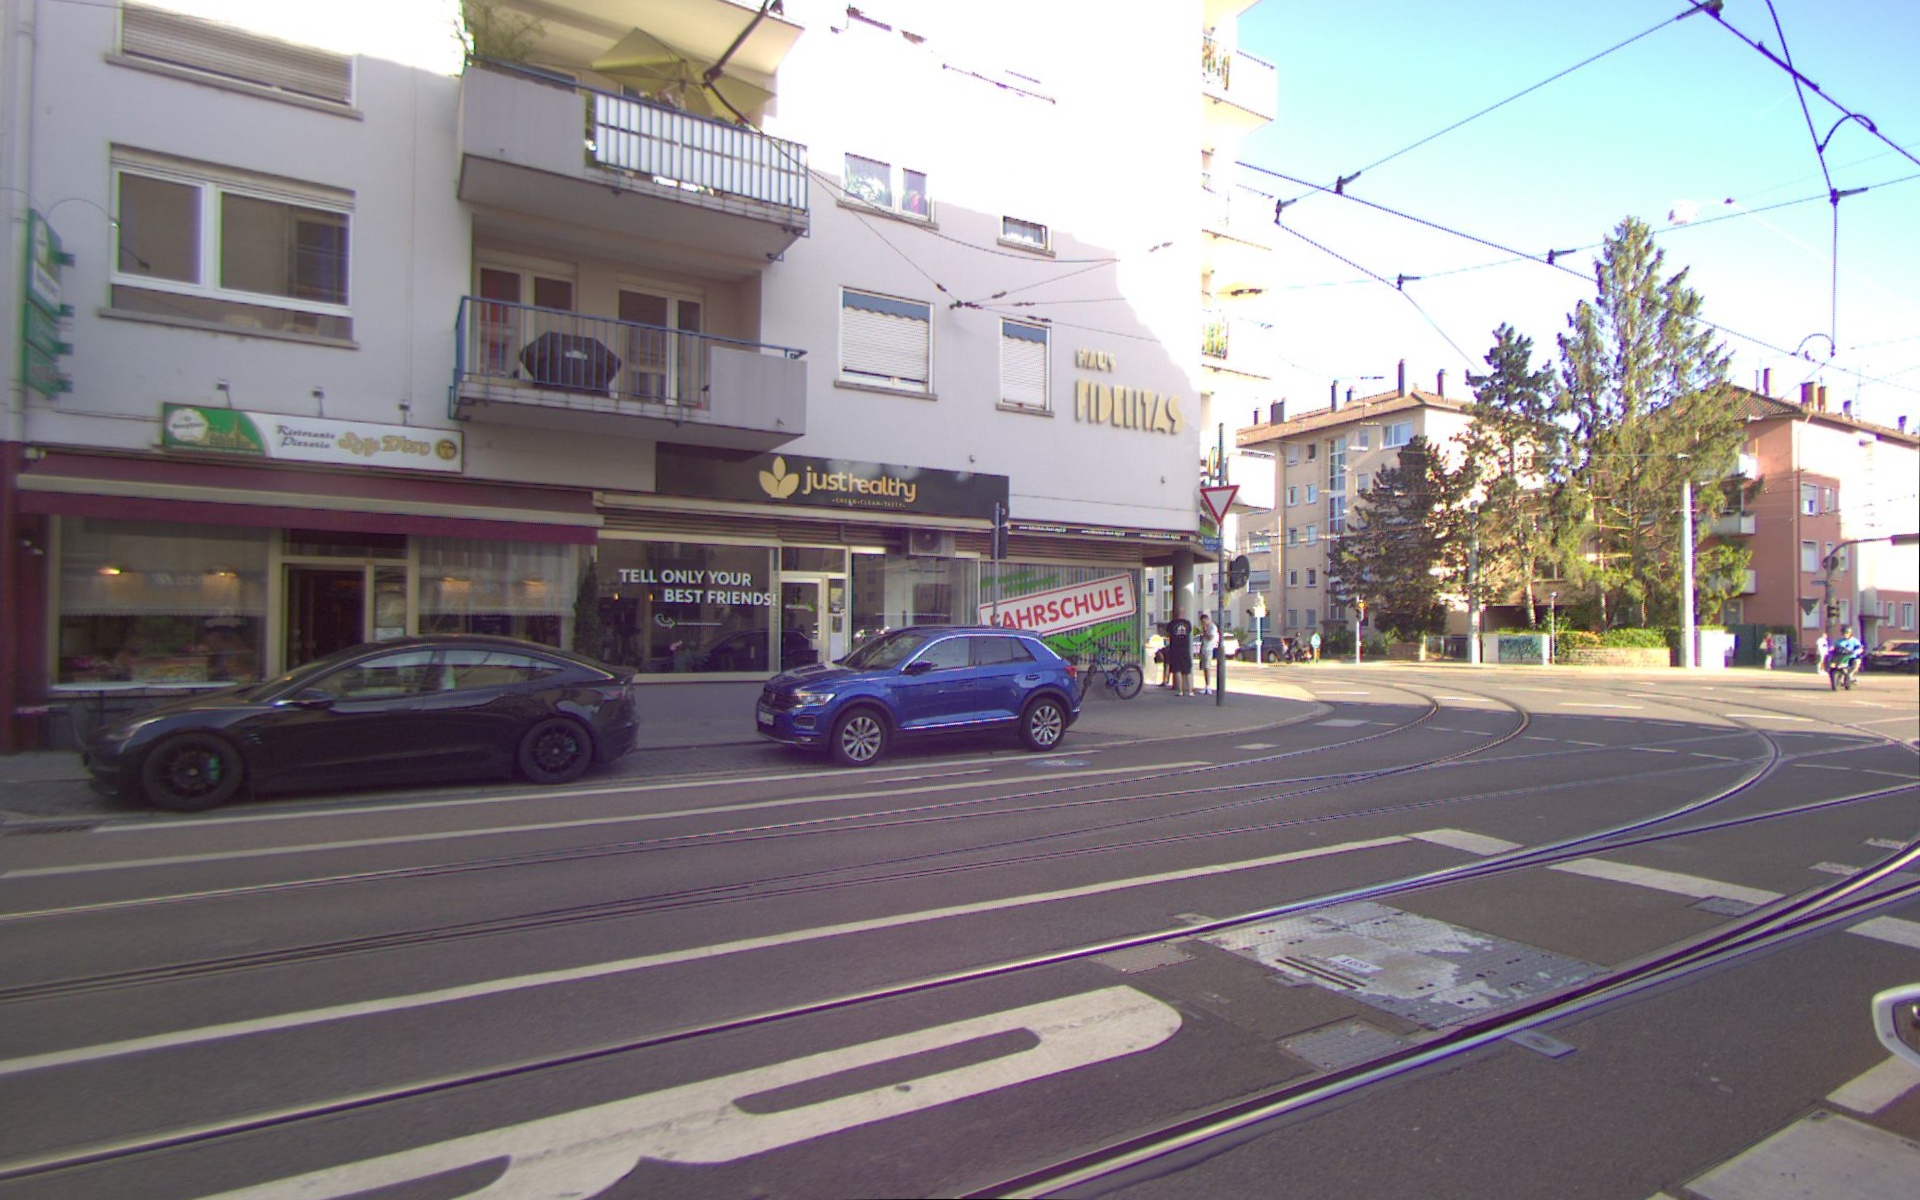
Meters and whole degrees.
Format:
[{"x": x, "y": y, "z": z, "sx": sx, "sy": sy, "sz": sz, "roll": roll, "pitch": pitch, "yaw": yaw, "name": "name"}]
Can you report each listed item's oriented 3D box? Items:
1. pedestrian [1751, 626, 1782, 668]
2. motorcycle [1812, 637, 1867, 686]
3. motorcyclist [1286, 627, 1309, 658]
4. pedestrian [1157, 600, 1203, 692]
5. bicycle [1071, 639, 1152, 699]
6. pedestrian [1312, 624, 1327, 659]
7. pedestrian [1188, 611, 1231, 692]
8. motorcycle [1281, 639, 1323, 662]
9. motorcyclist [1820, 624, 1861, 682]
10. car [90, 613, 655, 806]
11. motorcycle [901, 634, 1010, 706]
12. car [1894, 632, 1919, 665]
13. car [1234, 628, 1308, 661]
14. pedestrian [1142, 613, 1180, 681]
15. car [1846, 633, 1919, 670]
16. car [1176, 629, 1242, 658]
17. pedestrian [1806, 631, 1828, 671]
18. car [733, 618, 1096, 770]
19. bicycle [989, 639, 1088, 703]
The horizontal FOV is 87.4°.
[{"x": 34.554, "y": 1.996, "z": 43.024, "sx": 0.768, "sy": 1.745, "sz": 0.705, "roll": 2, "pitch": 0, "yaw": 16, "name": "pedestrian"}, {"x": 23.358, "y": 1.648, "z": 26.668, "sx": 1.947, "sy": 1.236, "sz": 0.707, "roll": 4, "pitch": -3, "yaw": -36, "name": "motorcycle"}, {"x": 17.309, "y": 2.173, "z": 51.449, "sx": 0.849, "sy": 1.508, "sz": 0.722, "roll": 2, "pitch": 0, "yaw": -35, "name": "motorcyclist"}, {"x": 4.749, "y": 0.982, "z": 21.678, "sx": 0.726, "sy": 1.925, "sz": 0.573, "roll": 3, "pitch": -2, "yaw": -12, "name": "pedestrian"}, {"x": 2.973, "y": 1.335, "z": 19.642, "sx": 1.520, "sy": 1.121, "sz": 0.549, "roll": 2, "pitch": 0, "yaw": -28, "name": "bicycle"}, {"x": 20.155, "y": 2.338, "z": 56.371, "sx": 0.686, "sy": 1.911, "sz": 0.780, "roll": 2, "pitch": 0, "yaw": 23, "name": "pedestrian"}, {"x": 5.743, "y": 1.168, "z": 23.139, "sx": 0.652, "sy": 1.816, "sz": 0.733, "roll": 1, "pitch": -1, "yaw": -23, "name": "pedestrian"}, {"x": 17.435, "y": 2.559, "z": 51.246, "sx": 0.849, "sy": 1.061, "sz": 1.923, "roll": 2, "pitch": 0, "yaw": -35, "name": "motorcycle"}, {"x": 23.429, "y": 1.406, "z": 26.720, "sx": 0.678, "sy": 1.516, "sz": 0.688, "roll": 3, "pitch": -3, "yaw": -36, "name": "motorcyclist"}, {"x": -5.442, "y": 0.949, "z": 9.882, "sx": 4.393, "sy": 1.494, "sz": 1.760, "roll": 2, "pitch": 0, "yaw": -30, "name": "car"}, {"x": -0.067, "y": 1.178, "z": 17.195, "sx": 1.776, "sy": 1.149, "sz": 0.604, "roll": 2, "pitch": 0, "yaw": -31, "name": "motorcycle"}, {"x": 46.480, "y": 2.335, "z": 47.712, "sx": 4.052, "sy": 1.456, "sz": 1.895, "roll": 2, "pitch": 0, "yaw": -29, "name": "car"}, {"x": 18.127, "y": 2.574, "z": 58.773, "sx": 1.847, "sy": 1.650, "sz": 4.046, "roll": 2, "pitch": 0, "yaw": -26, "name": "car"}, {"x": 5.089, "y": 1.200, "z": 25.431, "sx": 0.688, "sy": 1.672, "sz": 0.759, "roll": 3, "pitch": -5, "yaw": -9, "name": "pedestrian"}, {"x": 41.896, "y": 2.335, "z": 44.965, "sx": 4.392, "sy": 1.450, "sz": 2.142, "roll": 4, "pitch": -1, "yaw": -32, "name": "car"}, {"x": 15.728, "y": 2.705, "z": 63.518, "sx": 1.752, "sy": 1.619, "sz": 4.001, "roll": 2, "pitch": 0, "yaw": -30, "name": "car"}, {"x": 35.004, "y": 2.074, "z": 41.028, "sx": 0.567, "sy": 1.589, "sz": 0.514, "roll": 2, "pitch": 0, "yaw": -30, "name": "pedestrian"}, {"x": -0.498, "y": 1.022, "z": 12.465, "sx": 4.191, "sy": 1.524, "sz": 1.759, "roll": 0, "pitch": 1, "yaw": -33, "name": "car"}, {"x": 1.461, "y": 1.297, "z": 18.528, "sx": 1.776, "sy": 1.103, "sz": 0.604, "roll": 2, "pitch": 0, "yaw": -31, "name": "bicycle"}]
